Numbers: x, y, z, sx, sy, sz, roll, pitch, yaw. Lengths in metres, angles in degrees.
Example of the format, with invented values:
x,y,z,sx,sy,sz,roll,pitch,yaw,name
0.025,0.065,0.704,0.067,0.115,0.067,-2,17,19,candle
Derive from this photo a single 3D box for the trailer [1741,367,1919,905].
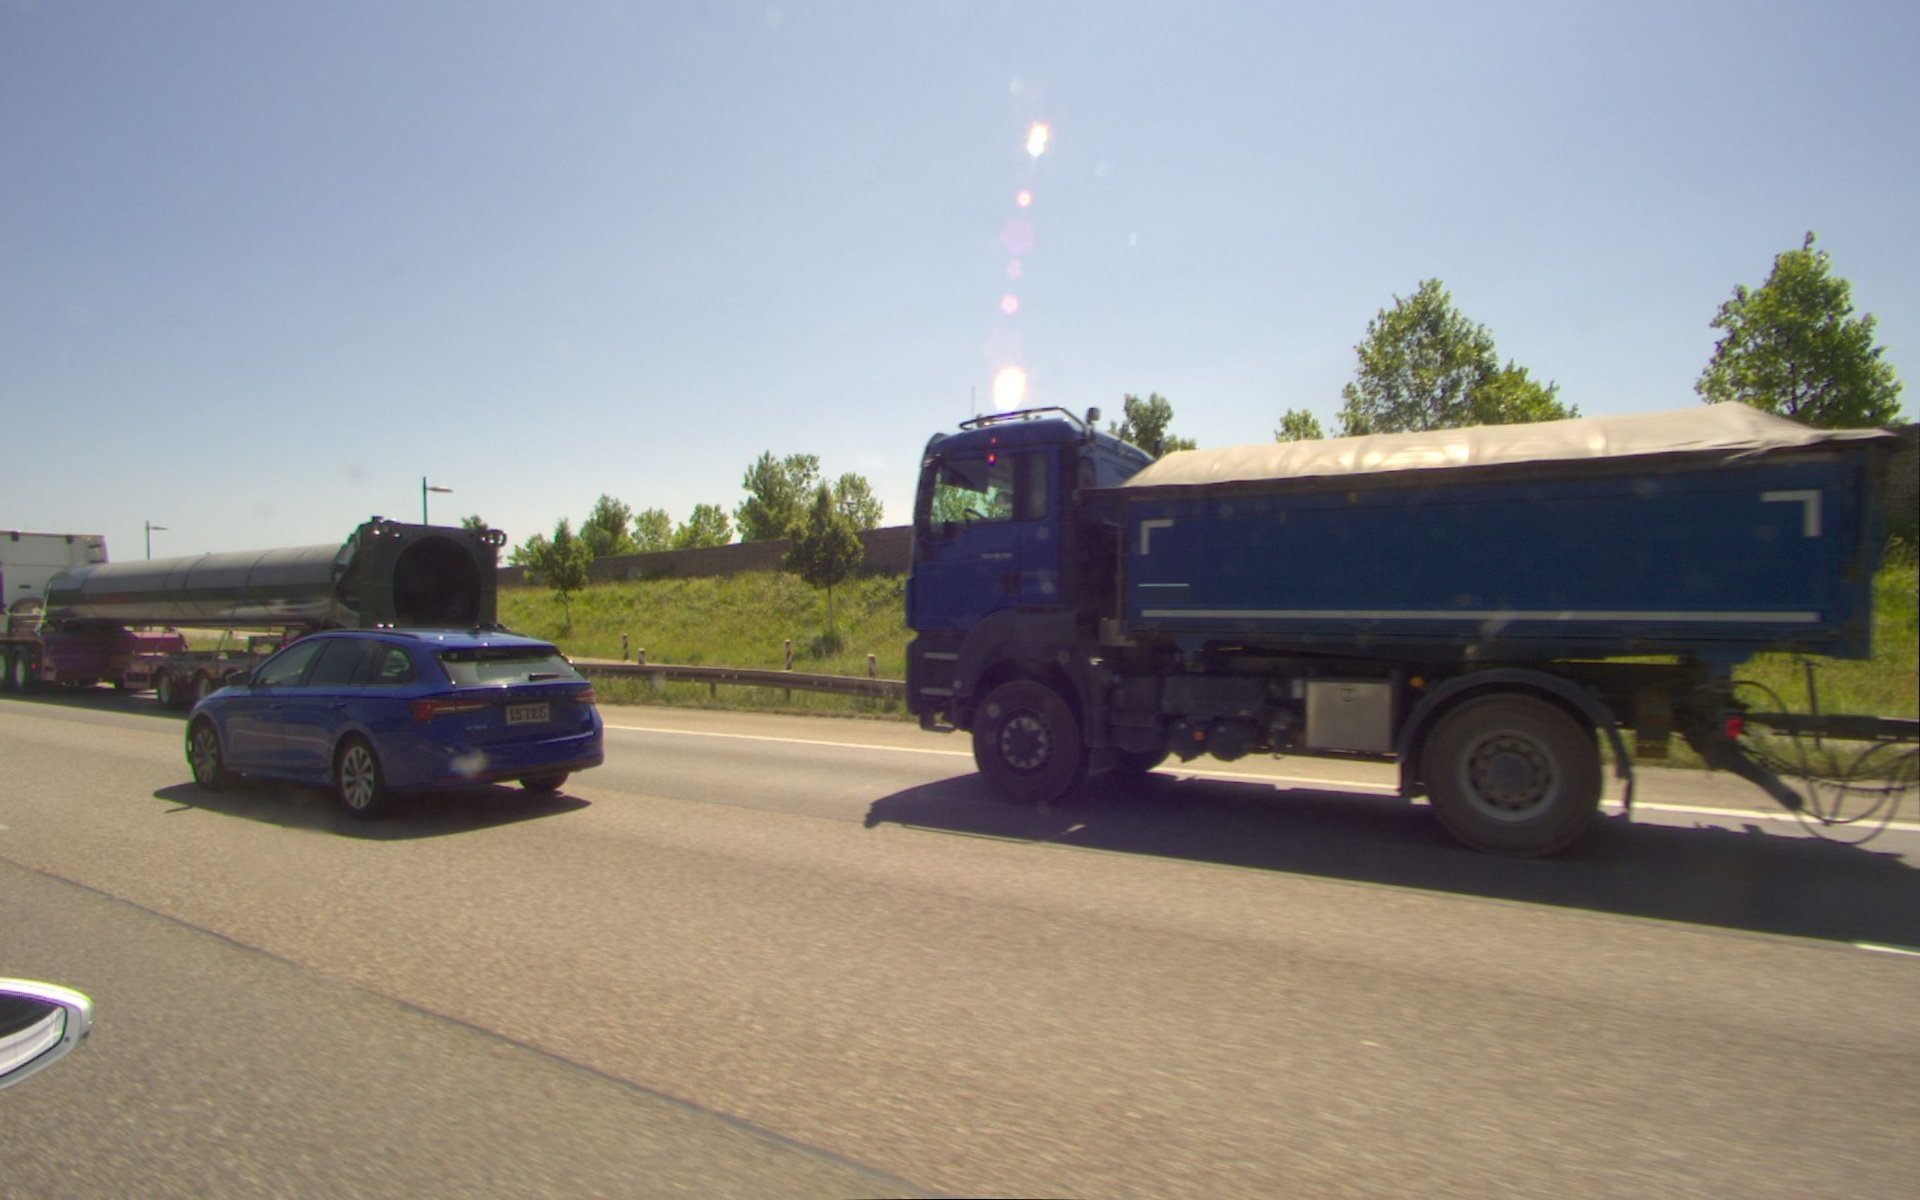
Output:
x,y,z,sx,sy,sz,roll,pitch,yaw,name
9.250,0.149,4.315,8.987,2.872,2.739,-1,-2,33,trailer

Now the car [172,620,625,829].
x,y,z,sx,sy,sz,roll,pitch,yaw,name
-5.114,0.961,8.935,4.366,1.459,1.703,-2,-3,33,car

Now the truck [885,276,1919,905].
x,y,z,sx,sy,sz,roll,pitch,yaw,name
3.026,-0.004,8.320,7.030,3.354,2.739,0,-1,33,truck

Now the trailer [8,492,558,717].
x,y,z,sx,sy,sz,roll,pitch,yaw,name
-14.184,0.349,19.809,15.560,3.117,3.638,-2,-3,35,trailer

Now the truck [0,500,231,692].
x,y,z,sx,sy,sz,roll,pitch,yaw,name
-22.001,0.071,25.245,7.424,4.146,3.617,-2,-3,35,truck
